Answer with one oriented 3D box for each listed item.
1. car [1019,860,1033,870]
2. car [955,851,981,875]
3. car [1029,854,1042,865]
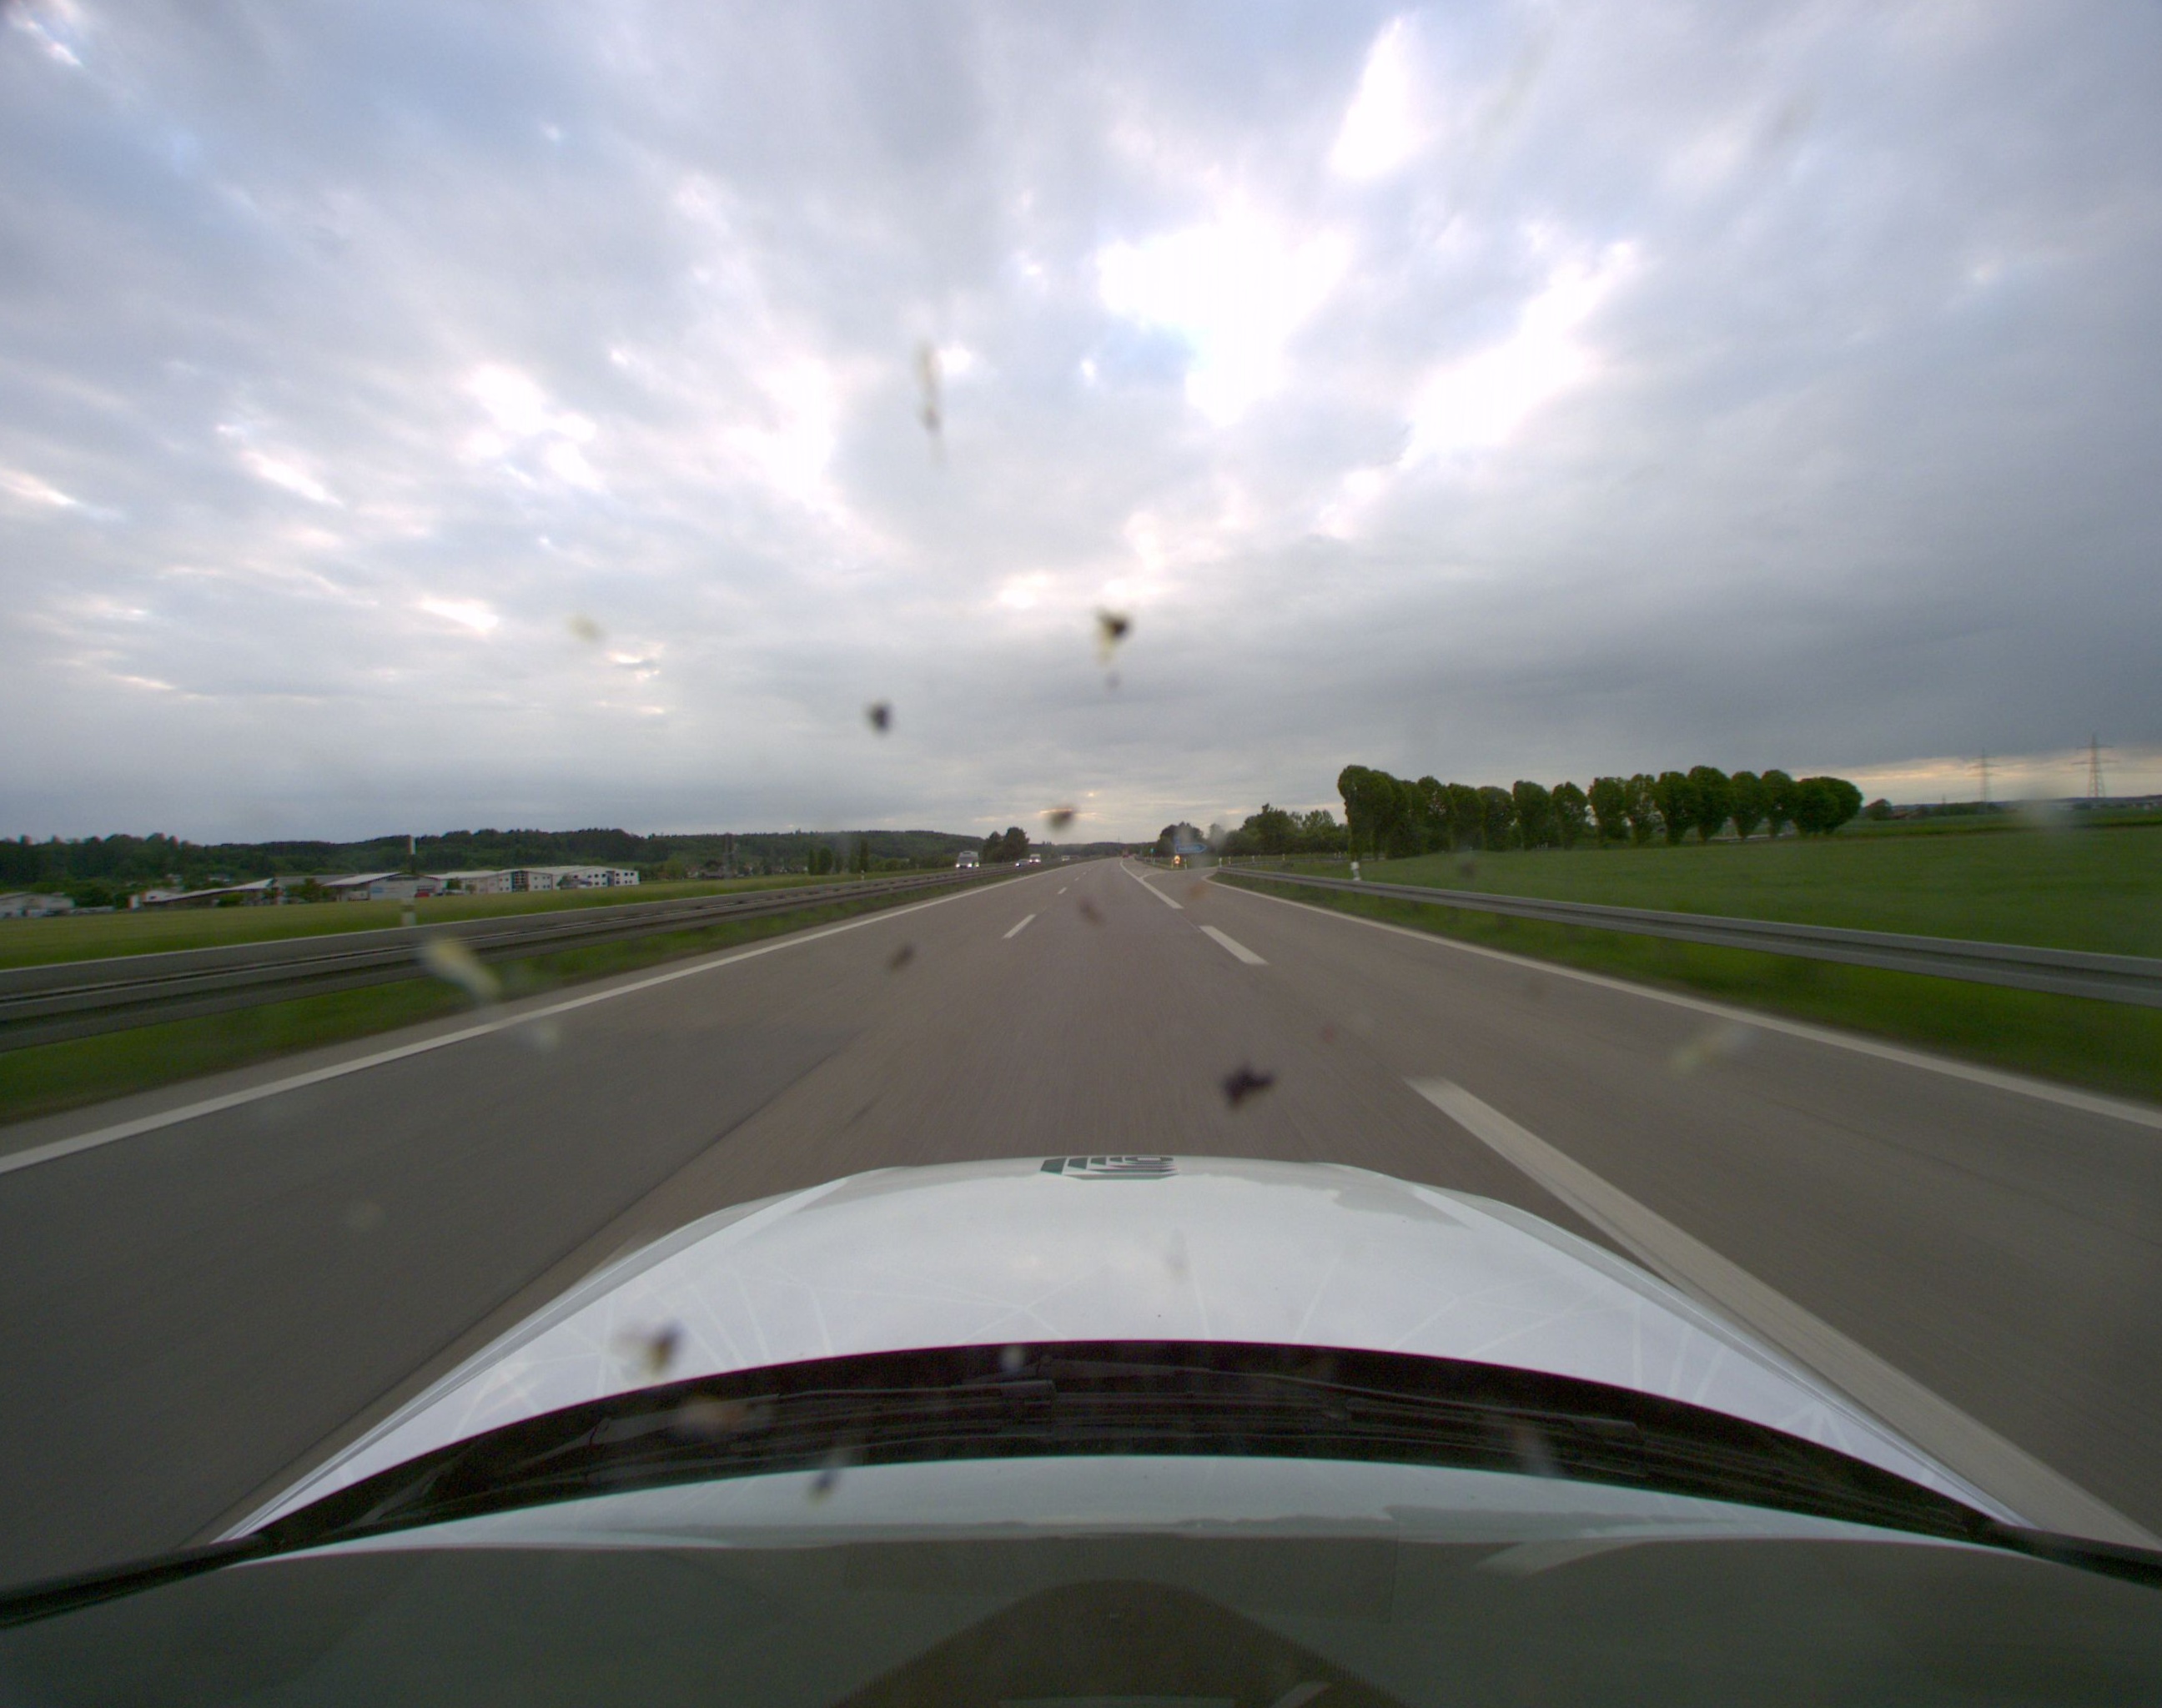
[{"bbox_3d":[-8.578,1.715,126.582,1.740,1.508,4.202,-1,0,2],"label":"car"},{"bbox_3d":[-14.174,1.115,102.237,2.097,2.801,6.430,-1,0,2],"label":"car"},{"bbox_3d":[-10.206,1.272,183.149,2.137,2.483,6.592,-1,0,2],"label":"car"}]
